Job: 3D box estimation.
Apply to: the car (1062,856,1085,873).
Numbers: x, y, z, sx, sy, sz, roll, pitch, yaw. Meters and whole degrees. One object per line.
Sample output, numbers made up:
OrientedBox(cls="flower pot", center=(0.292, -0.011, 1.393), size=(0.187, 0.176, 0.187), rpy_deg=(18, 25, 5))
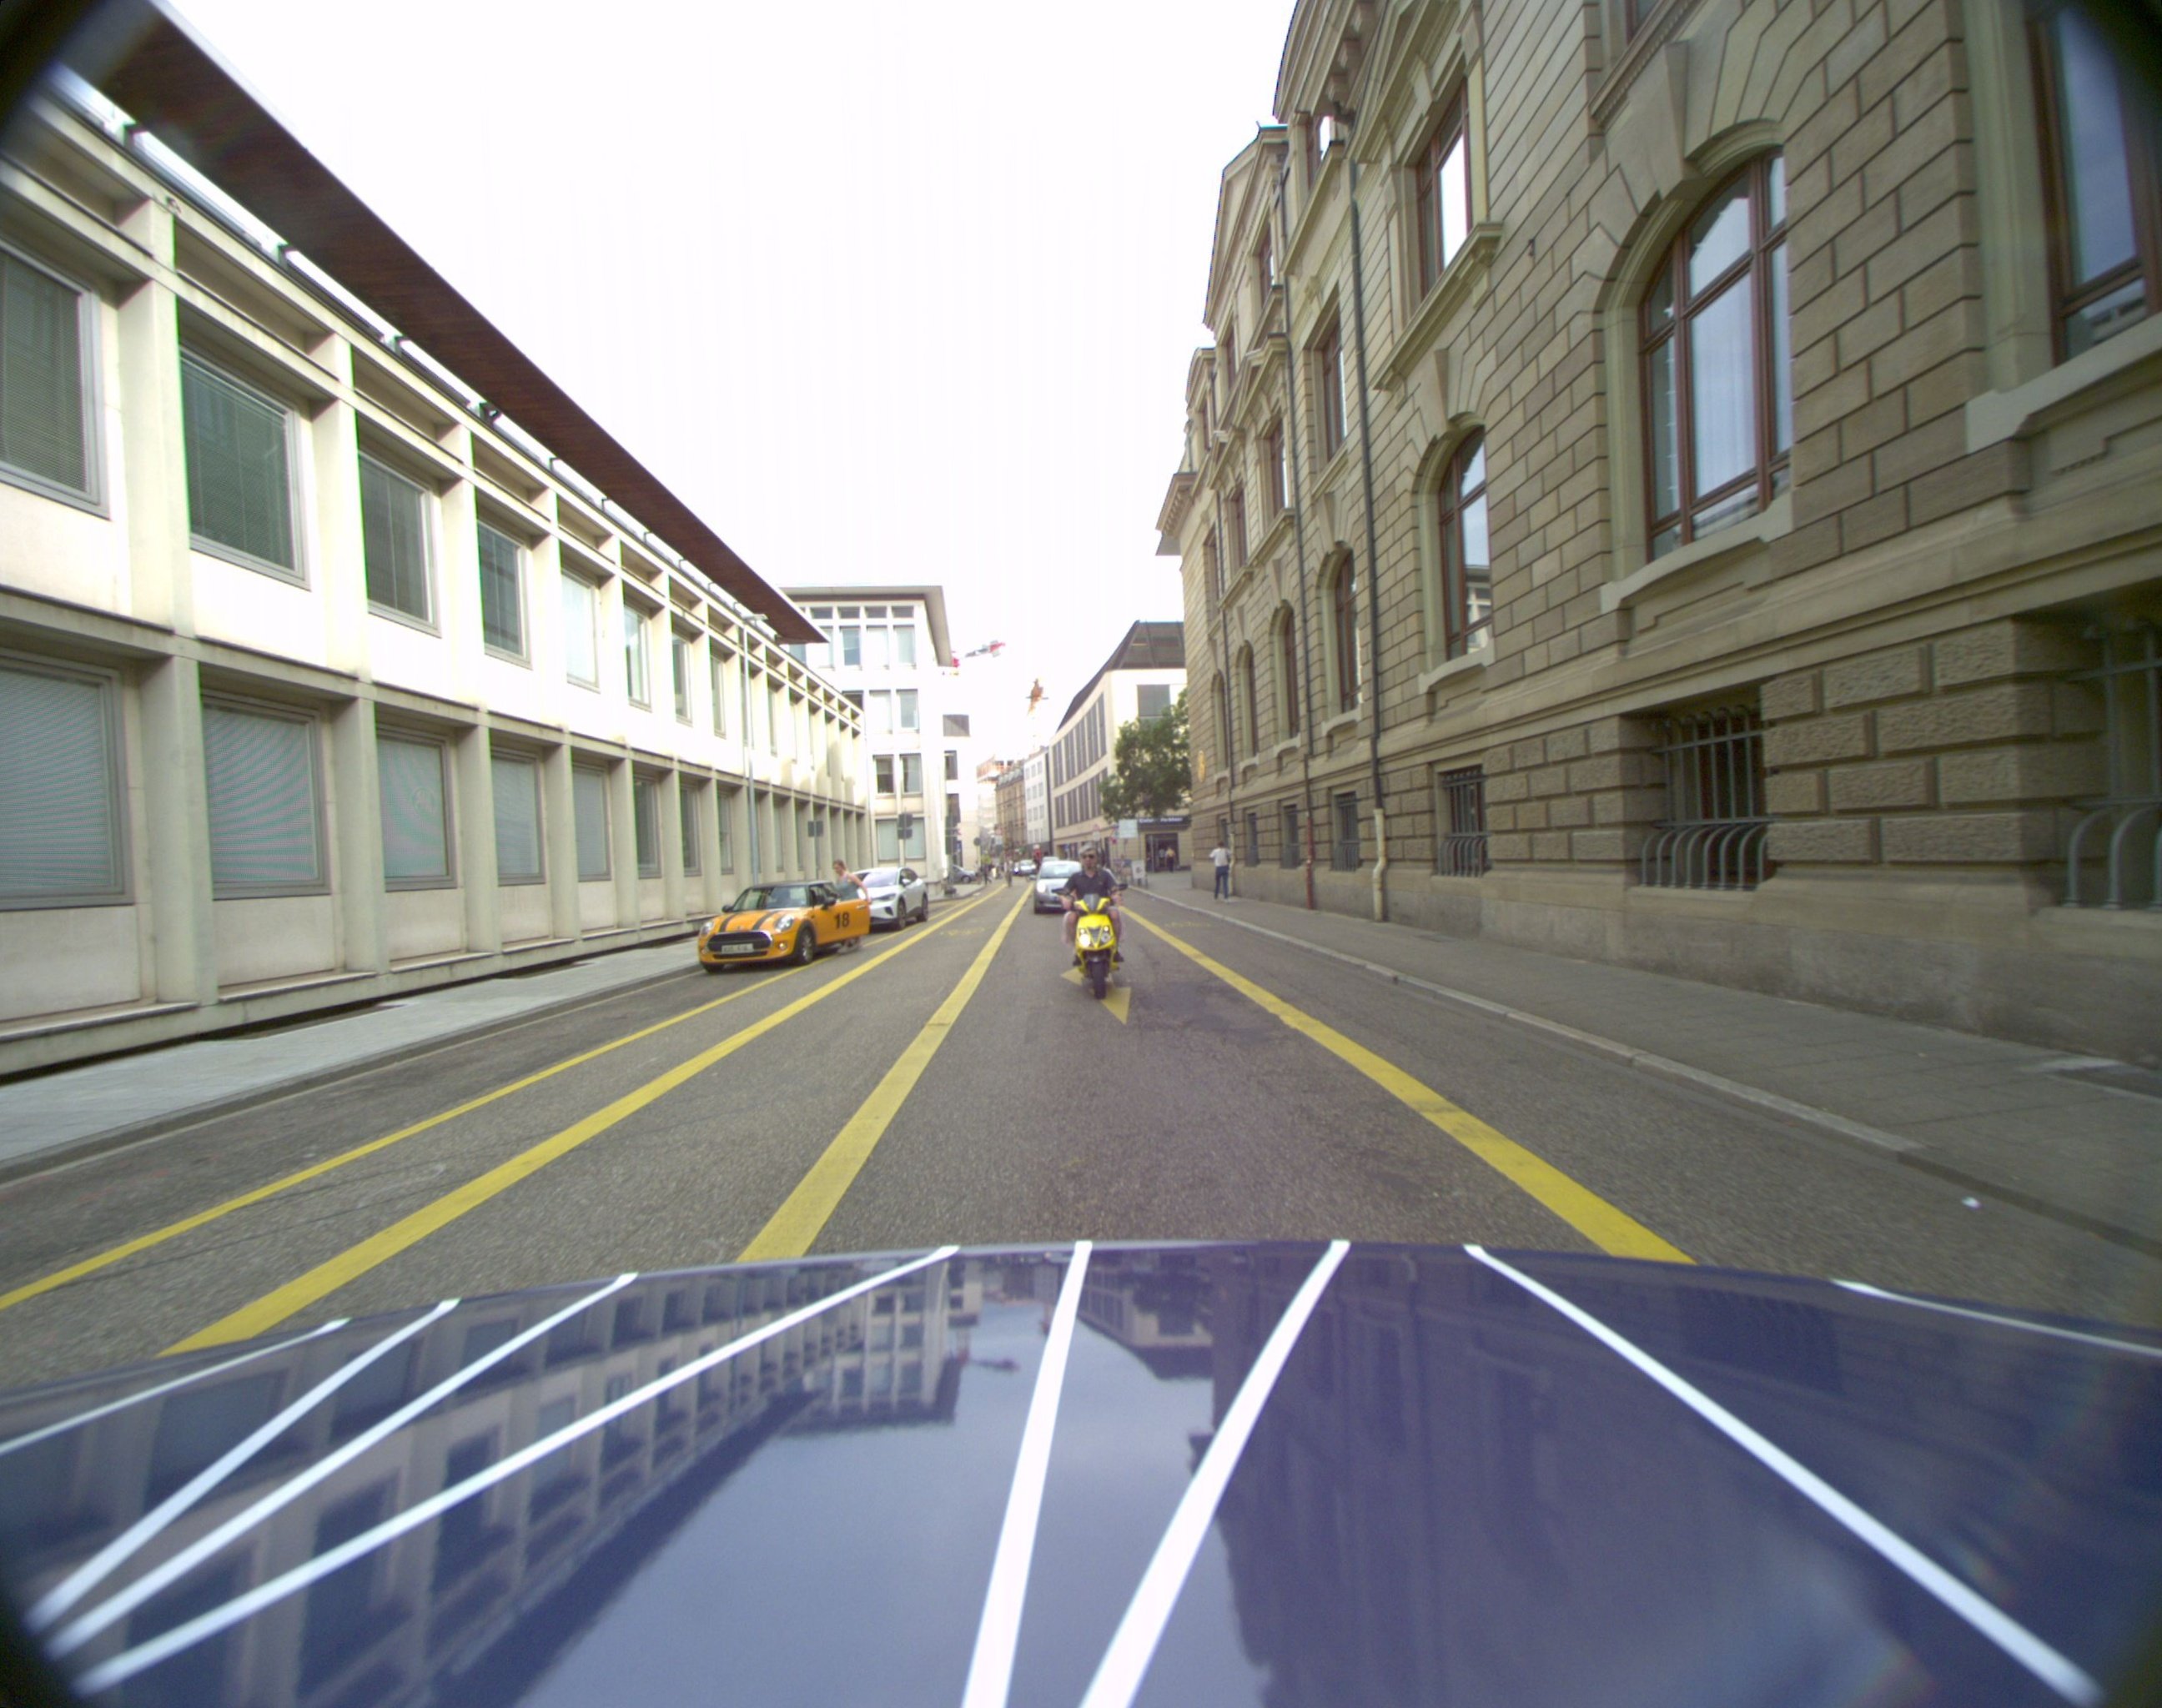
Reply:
OrientedBox(cls="car", center=(-0.756, 0.988, 74.168), size=(1.564, 1.547, 4.099), rpy_deg=(-3, 1, -10))

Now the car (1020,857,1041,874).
OrientedBox(cls="car", center=(-5.145, 1.093, 76.387), size=(1.564, 1.547, 4.099), rpy_deg=(-3, 1, -10))

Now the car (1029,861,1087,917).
OrientedBox(cls="car", center=(-0.675, 0.997, 22.824), size=(1.562, 1.482, 3.784), rpy_deg=(-2, -1, -1))

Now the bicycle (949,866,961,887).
OrientedBox(cls="bicycle", center=(-7.683, 1.361, 46.346), size=(0.590, 1.160, 1.813), rpy_deg=(-3, 1, -7))

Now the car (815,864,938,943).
OrientedBox(cls="car", center=(-5.266, 1.208, 20.252), size=(1.865, 1.596, 4.511), rpy_deg=(-6, 1, 0))

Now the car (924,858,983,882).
OrientedBox(cls="car", center=(-9.719, 1.239, 58.190), size=(4.194, 1.581, 1.814), rpy_deg=(-3, 1, -5))

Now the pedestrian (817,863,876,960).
OrientedBox(cls="pedestrian", center=(-4.406, 1.073, 14.319), size=(0.704, 1.753, 0.701), rpy_deg=(-2, 1, 18))

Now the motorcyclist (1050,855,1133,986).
OrientedBox(cls="motorcyclist", center=(0.115, 0.741, 8.841), size=(0.903, 1.445, 0.742), rpy_deg=(-1, 0, 0))

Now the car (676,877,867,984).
OrientedBox(cls="car", center=(-5.345, 1.250, 13.716), size=(1.684, 1.426, 3.887), rpy_deg=(-4, 0, 1))

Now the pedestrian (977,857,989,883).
OrientedBox(cls="pedestrian", center=(-6.977, 1.131, 53.876), size=(0.644, 1.755, 0.653), rpy_deg=(-4, 1, -15))

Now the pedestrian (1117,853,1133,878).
OrientedBox(cls="pedestrian", center=(3.225, 0.826, 55.775), size=(0.775, 1.820, 0.860), rpy_deg=(-3, 1, -23))

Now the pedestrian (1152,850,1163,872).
OrientedBox(cls="pedestrian", center=(6.471, 0.560, 64.320), size=(0.648, 1.820, 0.860), rpy_deg=(-3, 1, -16))

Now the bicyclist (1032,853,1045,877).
OrientedBox(cls="bicyclist", center=(-3.038, 0.777, 53.927), size=(0.644, 1.609, 0.622), rpy_deg=(-5, 0, -17))

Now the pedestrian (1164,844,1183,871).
OrientedBox(cls="pedestrian", center=(6.073, 0.217, 49.958), size=(1.029, 1.710, 0.818), rpy_deg=(-5, 1, -3))

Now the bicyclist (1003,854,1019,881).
OrientedBox(cls="bicyclist", center=(-4.329, 0.836, 46.867), size=(0.892, 1.585, 0.877), rpy_deg=(-3, 1, -4))

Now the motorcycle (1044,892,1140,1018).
OrientedBox(cls="motorcycle", center=(0.117, 1.106, 8.992), size=(0.929, 1.158, 2.127), rpy_deg=(-4, 0, 0))

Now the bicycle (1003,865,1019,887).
OrientedBox(cls="bicycle", center=(-4.321, 1.320, 46.841), size=(0.871, 1.188, 2.862), rpy_deg=(-3, 1, -5))

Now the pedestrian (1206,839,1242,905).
OrientedBox(cls="pedestrian", center=(4.104, 0.493, 21.914), size=(0.665, 1.809, 1.047), rpy_deg=(-4, 1, -3))

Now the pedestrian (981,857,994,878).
OrientedBox(cls="pedestrian", center=(-8.072, 1.183, 65.600), size=(0.655, 1.755, 0.642), rpy_deg=(-7, 2, -40))

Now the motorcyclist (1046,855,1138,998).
OrientedBox(cls="motorcyclist", center=(0.112, 0.744, 8.301), size=(0.924, 1.445, 1.065), rpy_deg=(-1, 0, 0))

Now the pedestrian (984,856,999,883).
OrientedBox(cls="pedestrian", center=(-6.302, 1.076, 53.345), size=(0.746, 1.804, 0.755), rpy_deg=(-7, 1, -15))

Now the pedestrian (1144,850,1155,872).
OrientedBox(cls="pedestrian", center=(5.792, 0.590, 64.302), size=(0.648, 1.820, 0.860), rpy_deg=(-3, 1, -16))

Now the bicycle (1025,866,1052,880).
OrientedBox(cls="bicycle", center=(-3.028, 1.322, 53.908), size=(1.726, 0.829, 0.601), rpy_deg=(-5, -2, -17))

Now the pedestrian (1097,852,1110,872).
OrientedBox(cls="pedestrian", center=(2.087, 0.738, 70.591), size=(0.879, 1.699, 0.910), rpy_deg=(-6, 1, -3))
